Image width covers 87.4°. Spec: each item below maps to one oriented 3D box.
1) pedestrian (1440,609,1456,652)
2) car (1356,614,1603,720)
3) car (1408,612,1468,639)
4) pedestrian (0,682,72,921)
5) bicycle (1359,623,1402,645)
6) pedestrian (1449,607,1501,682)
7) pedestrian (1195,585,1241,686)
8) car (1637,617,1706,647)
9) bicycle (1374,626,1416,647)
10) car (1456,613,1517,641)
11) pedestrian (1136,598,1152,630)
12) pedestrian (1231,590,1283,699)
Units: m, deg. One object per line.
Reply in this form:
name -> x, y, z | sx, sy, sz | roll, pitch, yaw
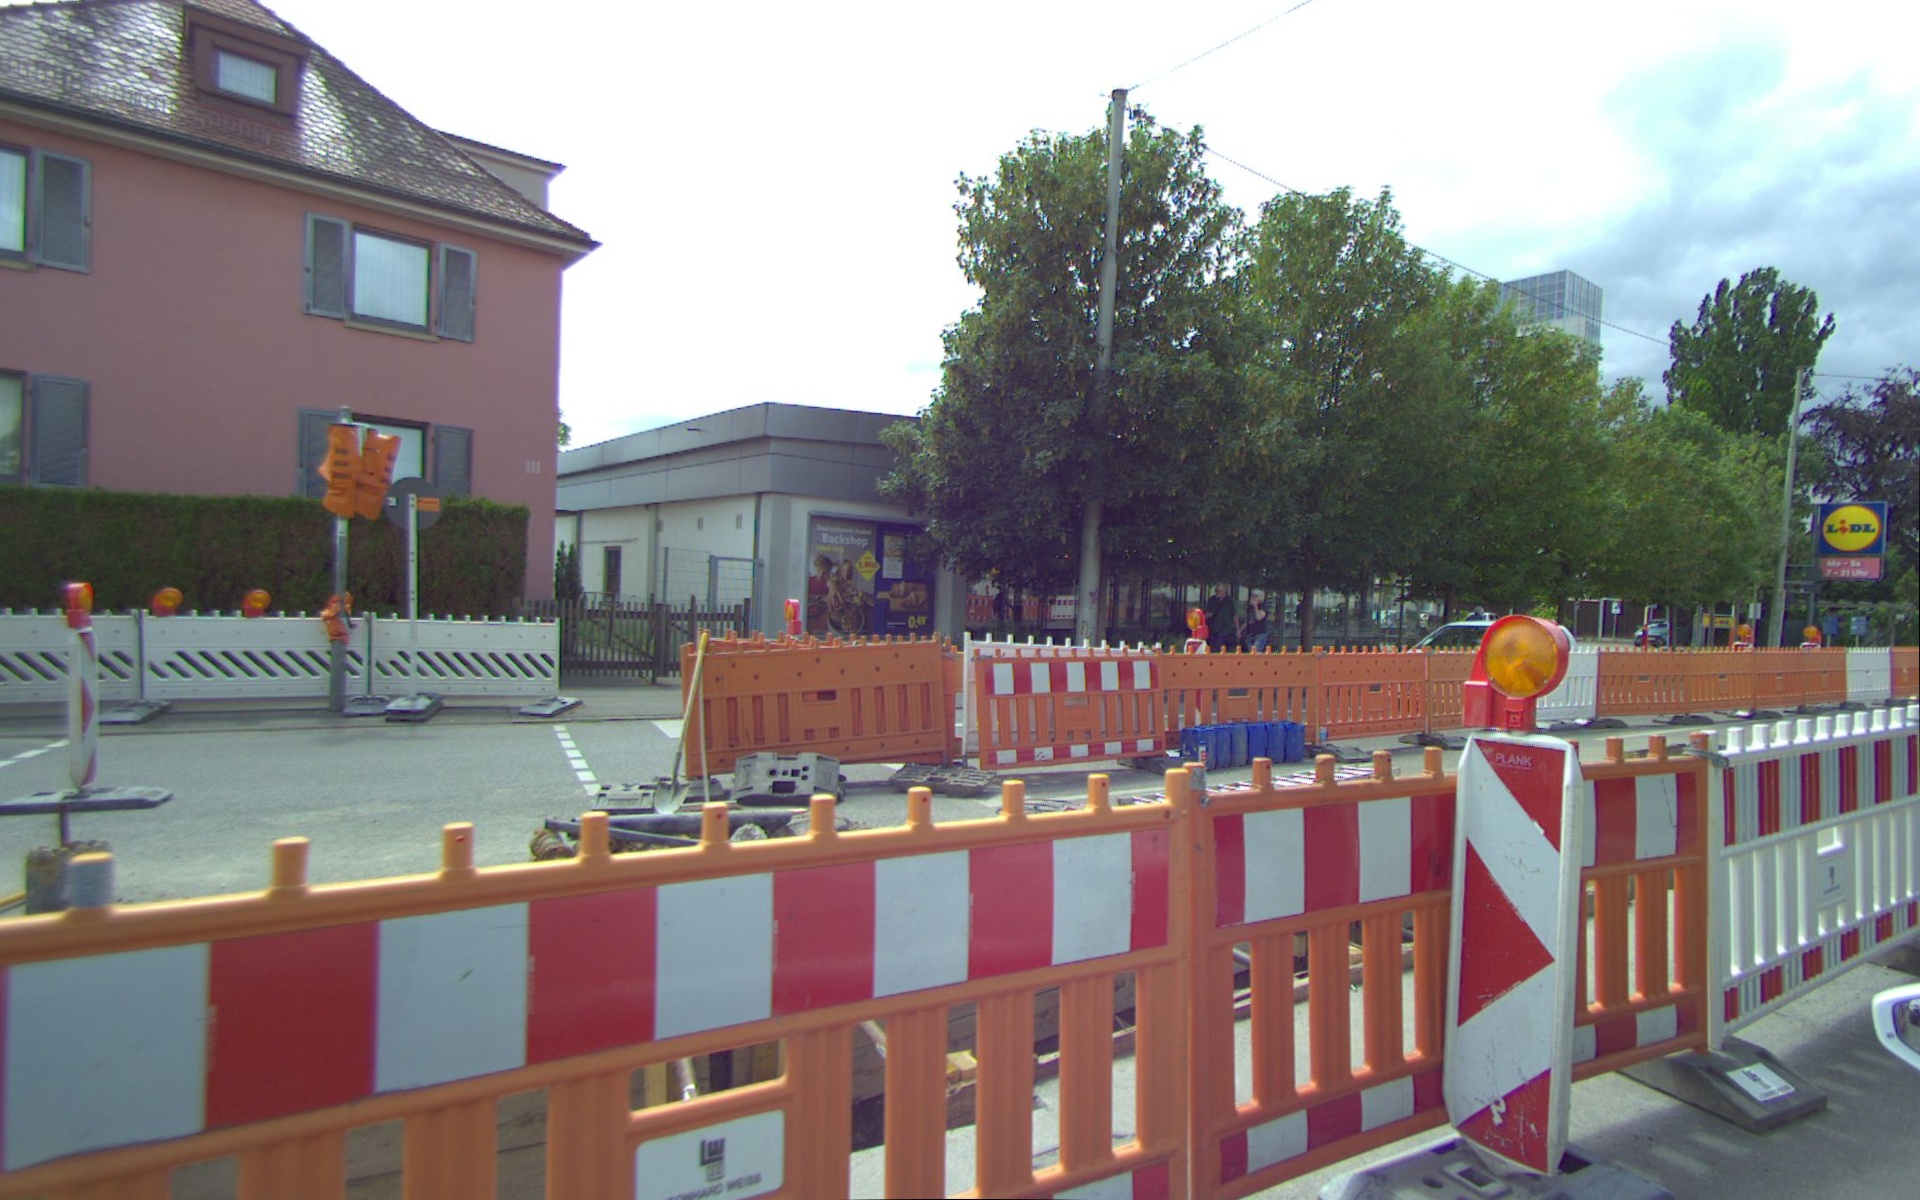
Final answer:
pedestrian -> 21.557, 1.338, 44.373 | 0.607, 1.884, 0.417 | 1, 0, -41
car -> 8.541, 1.026, 16.443 | 3.957, 1.472, 1.844 | 1, 1, -33
car -> 29.738, 1.594, 62.488 | 3.970, 1.572, 1.975 | 2, 0, -42
pedestrian -> -4.538, 0.883, 4.361 | 0.777, 1.004, 0.643 | 1, 0, 1
bicycle -> 19.963, 1.613, 47.674 | 1.846, 0.970, 0.349 | 1, 0, 9
pedestrian -> 11.551, 0.986, 22.536 | 0.823, 1.624, 0.746 | 1, 0, -40
pedestrian -> 4.869, 0.663, 18.967 | 0.611, 1.872, 0.626 | 1, 0, -9
car -> 37.964, 1.717, 53.577 | 3.965, 1.472, 1.978 | 2, 0, -38
bicycle -> 21.559, 1.778, 49.774 | 1.851, 0.970, 0.348 | 1, 0, 31
car -> 32.040, 1.626, 61.086 | 3.970, 1.572, 1.975 | 2, 0, -42
pedestrian -> 9.567, 0.750, 52.327 | 0.602, 1.638, 0.500 | 2, 0, -39
pedestrian -> 5.240, 0.771, 17.753 | 0.611, 1.872, 0.696 | 1, 0, -9
